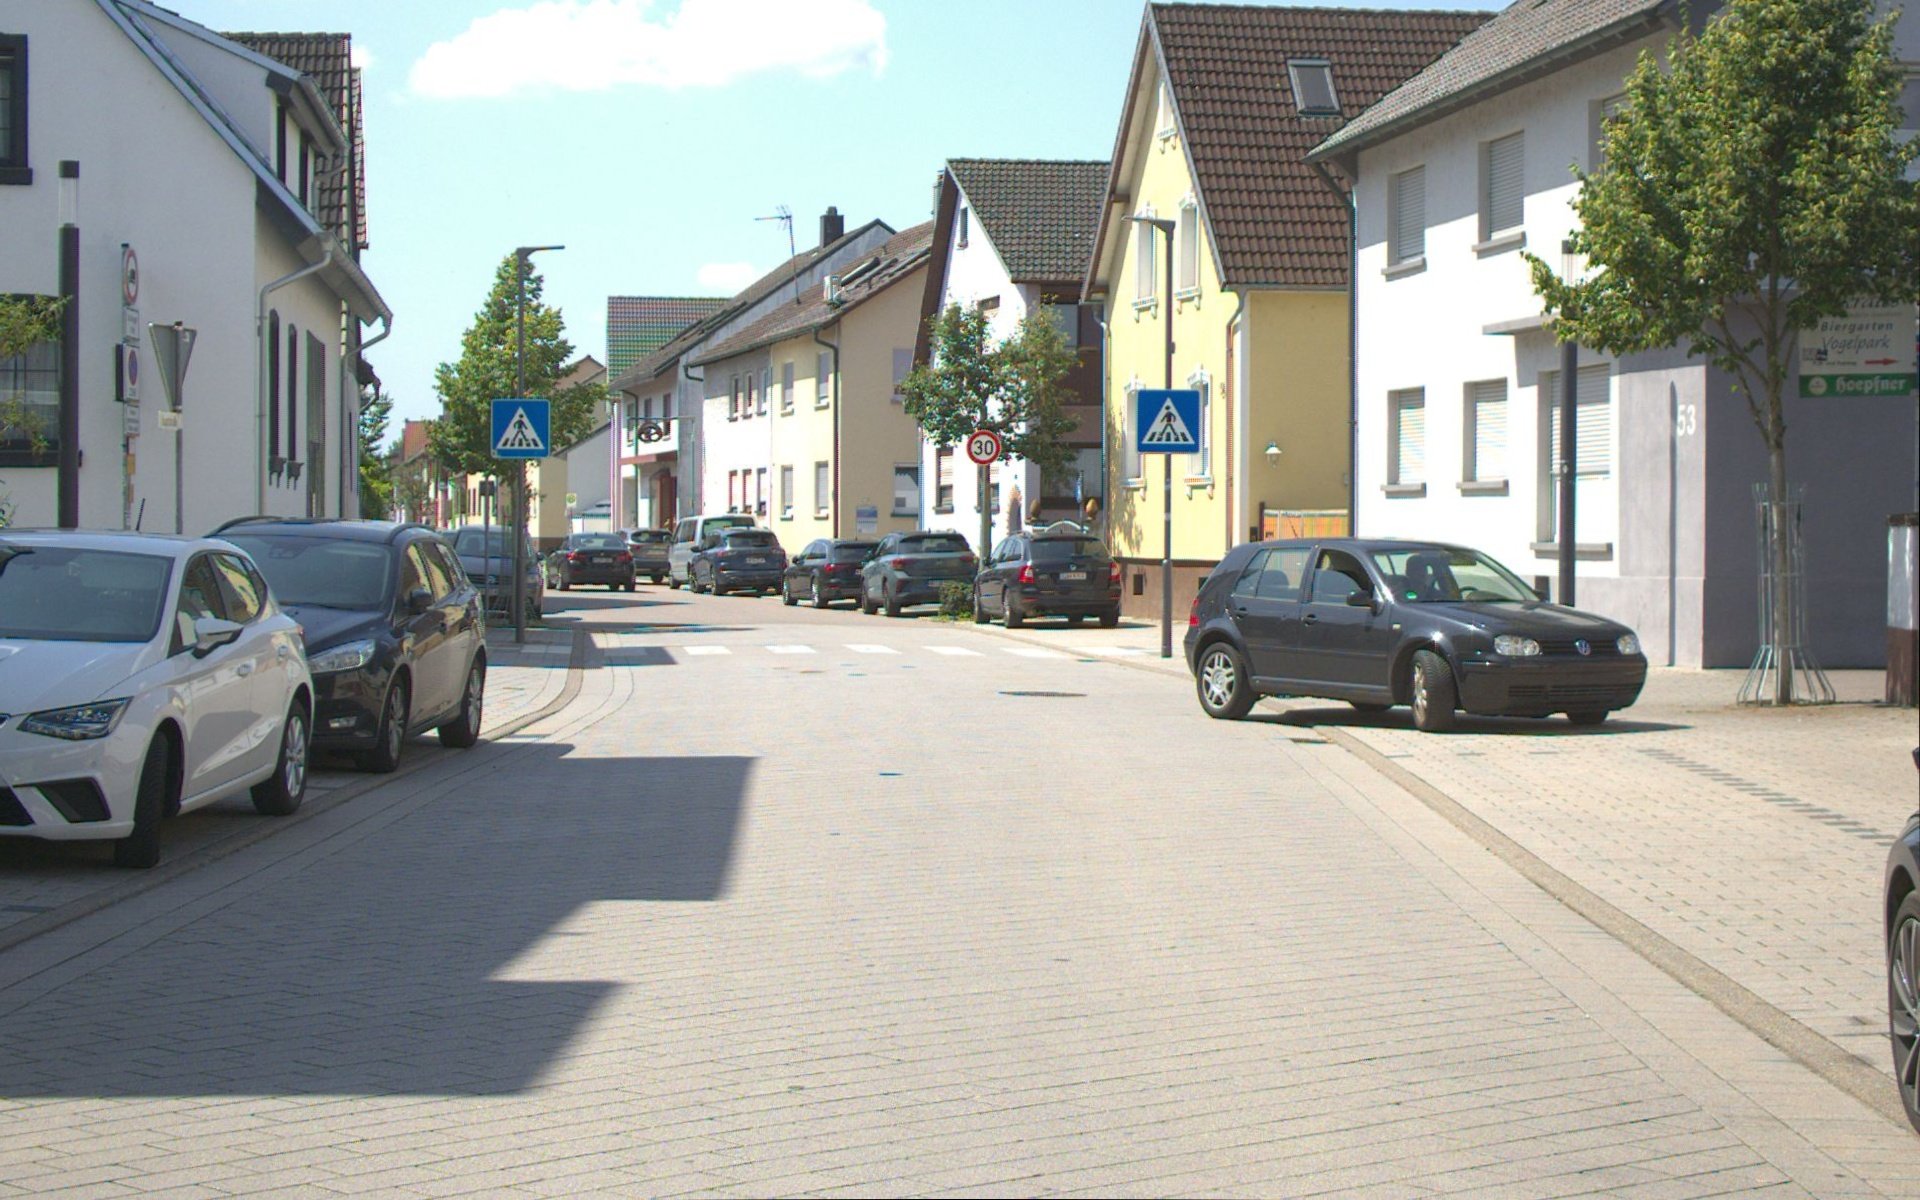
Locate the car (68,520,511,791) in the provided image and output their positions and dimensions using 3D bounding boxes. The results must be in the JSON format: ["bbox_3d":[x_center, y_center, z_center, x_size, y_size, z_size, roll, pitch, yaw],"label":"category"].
[{"bbox_3d":[-4.129,0.275,21.862,1.813,1.485,4.277,2,1,2],"label":"car"}]

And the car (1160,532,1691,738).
[{"bbox_3d":[3.482,0.212,26.406,1.759,1.433,4.119,-1,1,-33],"label":"car"}]

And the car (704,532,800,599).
[{"bbox_3d":[-5.147,-0.868,84.630,1.877,1.586,4.001,0,1,-10],"label":"car"}]

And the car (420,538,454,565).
[{"bbox_3d":[-28.394,-2.636,186.674,1.687,1.447,3.794,0,1,-11],"label":"car"}]

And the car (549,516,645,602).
[{"bbox_3d":[-9.019,-1.037,85.132,1.993,2.051,4.375,0,1,-11],"label":"car"}]

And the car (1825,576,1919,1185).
[{"bbox_3d":[3.142,0.687,7.081,1.858,1.454,4.585,-1,1,4],"label":"car"}]

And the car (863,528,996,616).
[{"bbox_3d":[-0.597,-0.534,63.338,1.846,1.557,3.695,0,1,-10],"label":"car"}]

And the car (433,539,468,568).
[{"bbox_3d":[-26.294,-2.398,177.291,1.687,1.447,3.794,0,1,-10],"label":"car"}]

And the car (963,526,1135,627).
[{"bbox_3d":[1.346,-0.381,53.955,1.828,1.466,4.277,-2,1,-10],"label":"car"}]

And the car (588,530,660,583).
[{"bbox_3d":[-9.683,-1.275,98.921,1.753,1.487,4.001,0,1,-10],"label":"car"}]

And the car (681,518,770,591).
[{"bbox_3d":[-6.170,-1.212,90.157,1.906,1.865,4.001,0,1,-10],"label":"car"}]

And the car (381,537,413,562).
[{"bbox_3d":[-34.356,-3.085,209.702,1.687,1.447,3.794,0,1,-13],"label":"car"}]

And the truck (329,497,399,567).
[{"bbox_3d":[-34.857,-3.971,200.677,3.563,3.940,8.584,0,1,-13],"label":"truck"}]

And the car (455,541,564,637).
[{"bbox_3d":[-7.681,-0.212,58.622,1.747,1.525,4.001,2,1,-7],"label":"car"}]

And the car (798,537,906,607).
[{"bbox_3d":[-2.265,-0.596,71.137,1.710,1.382,3.707,0,1,-10],"label":"car"}]

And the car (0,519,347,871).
[{"bbox_3d":[-4.217,0.353,16.329,1.758,1.406,3.878,3,1,2],"label":"car"}]
